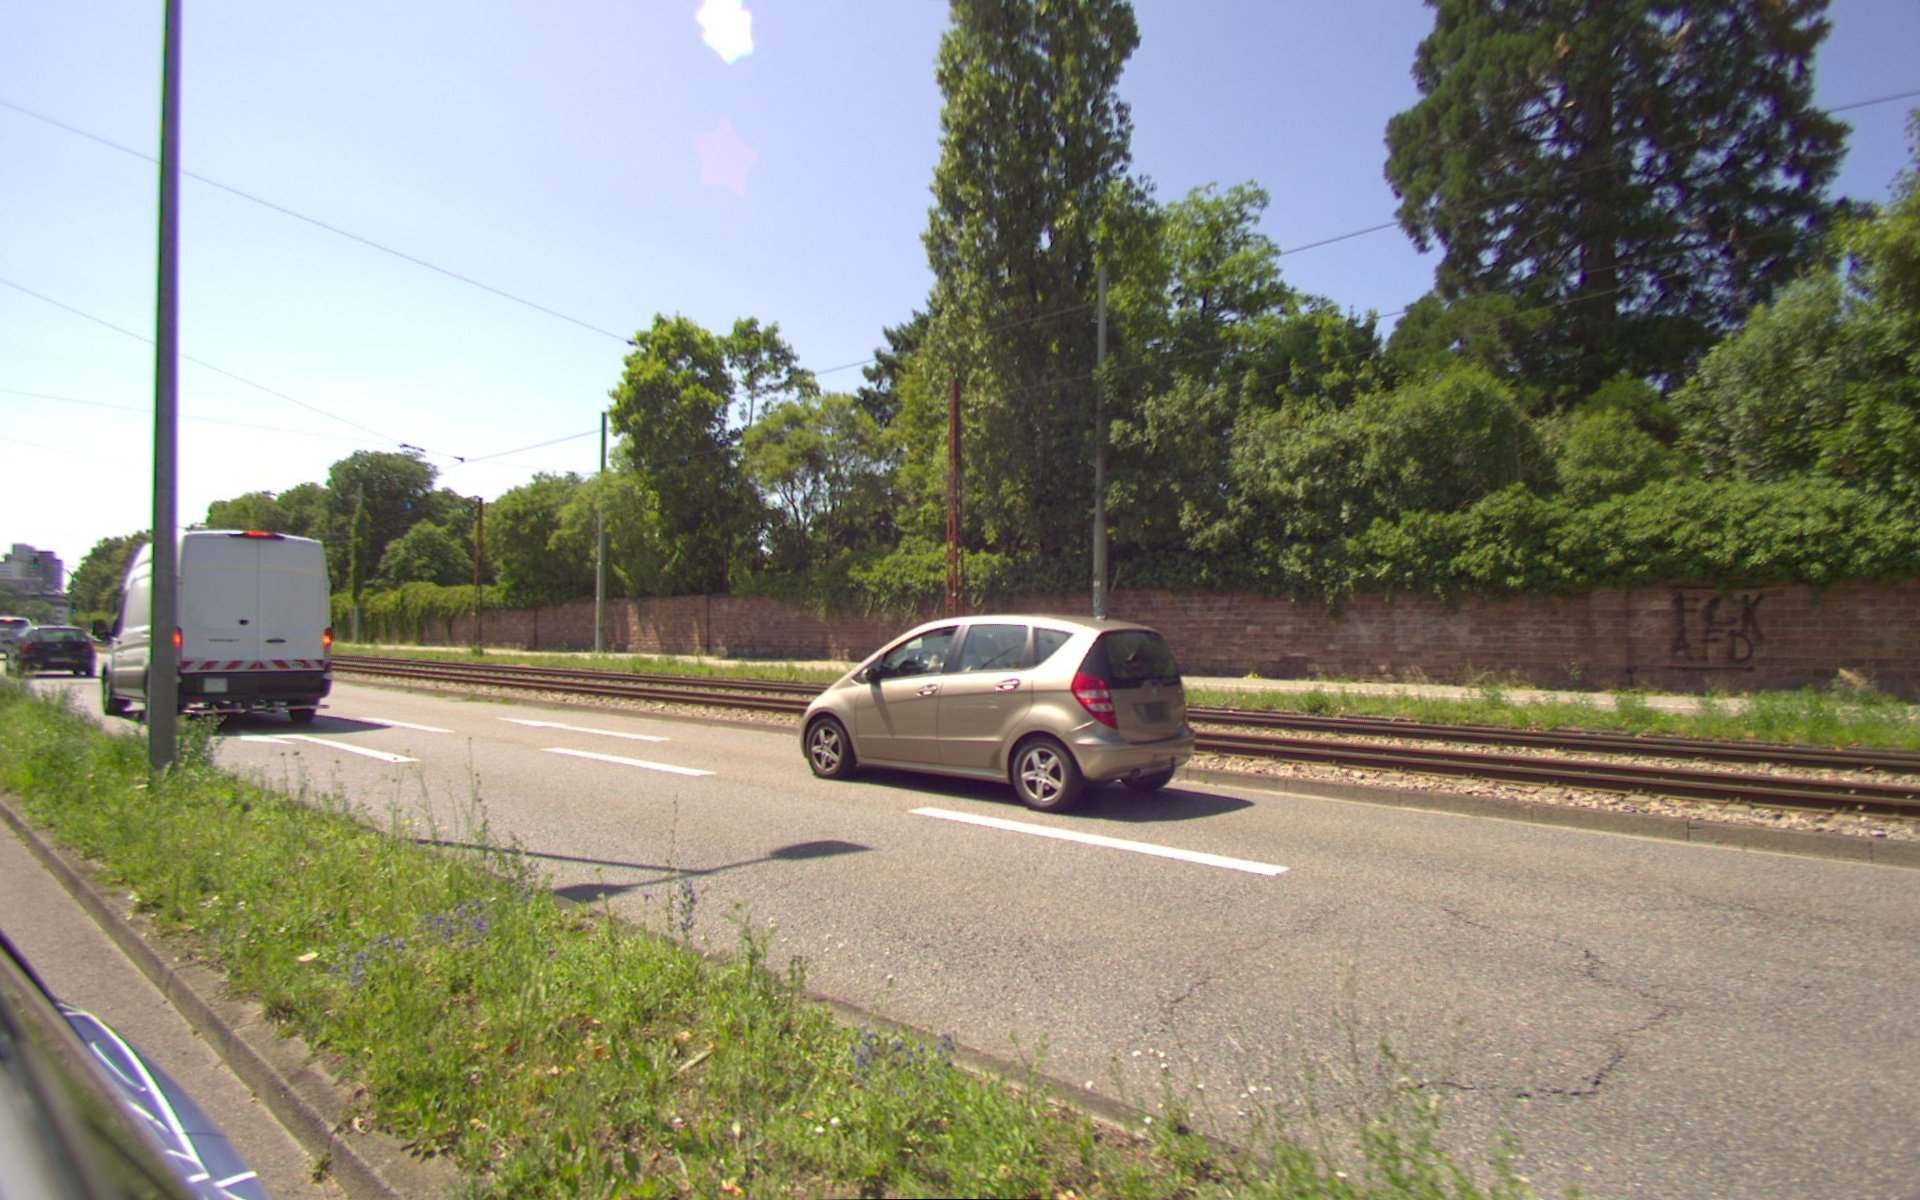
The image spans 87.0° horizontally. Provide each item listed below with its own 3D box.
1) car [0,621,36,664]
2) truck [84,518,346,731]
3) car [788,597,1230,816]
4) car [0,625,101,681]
[{"bbox_3d":[-40.901,1.809,43.053,4.586,1.762,1.880,-2,-3,42],"label":"car"},{"bbox_3d":[-11.746,0.418,15.787,5.544,2.769,2.059,-2,-3,41],"label":"truck"},{"bbox_3d":[0.341,0.855,9.340,3.768,1.597,1.810,-2,-3,41],"label":"car"},{"bbox_3d":[-25.743,1.461,28.568,3.912,1.470,1.698,-2,-3,41],"label":"car"}]
